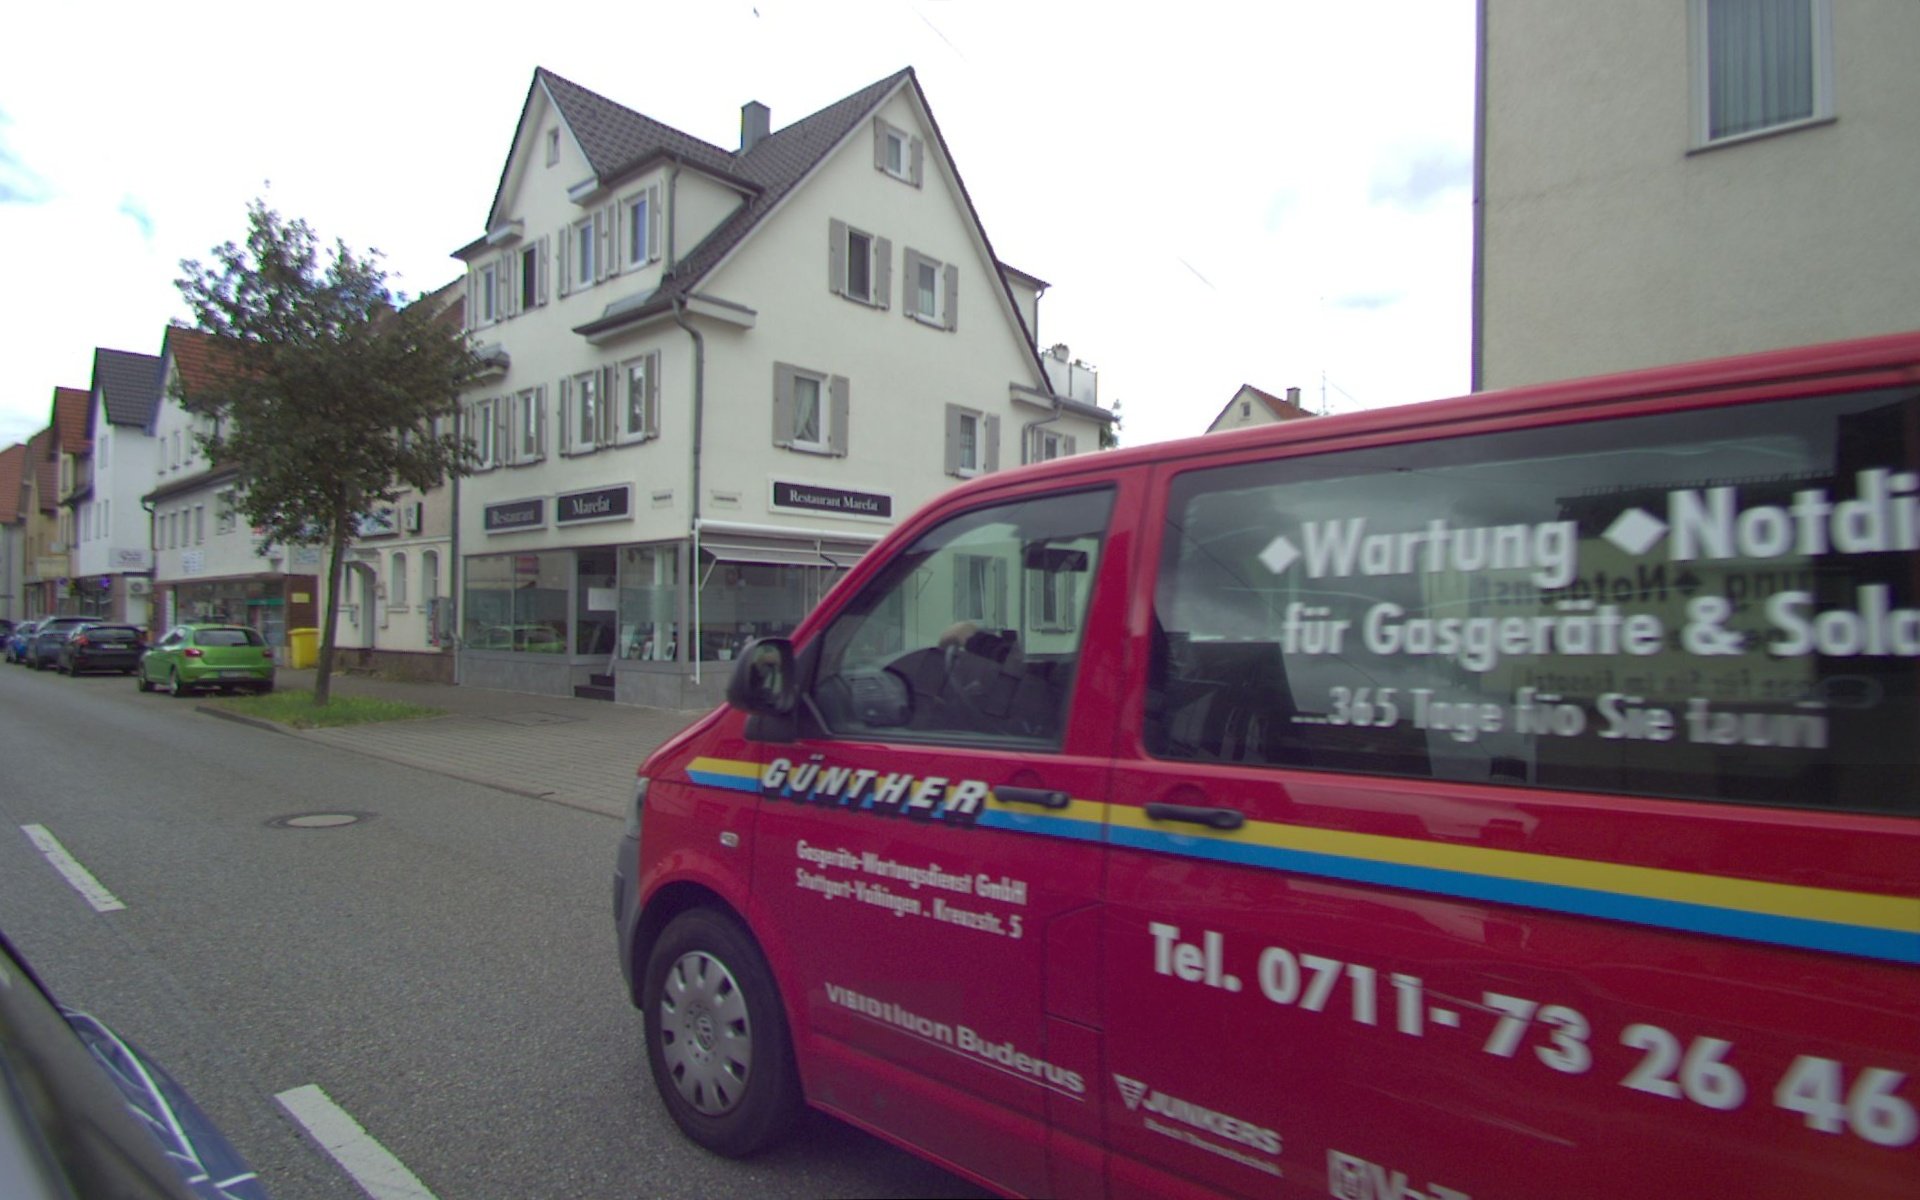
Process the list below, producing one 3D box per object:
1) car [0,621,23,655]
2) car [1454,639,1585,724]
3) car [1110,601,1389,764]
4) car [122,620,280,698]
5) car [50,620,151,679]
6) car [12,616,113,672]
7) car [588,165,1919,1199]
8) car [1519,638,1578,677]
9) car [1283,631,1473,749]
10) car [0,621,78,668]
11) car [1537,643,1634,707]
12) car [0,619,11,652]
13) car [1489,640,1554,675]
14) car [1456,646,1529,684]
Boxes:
[{"bbox_3d":[-43.930,1.697,45.932,3.590,1.504,1.664,-1,-3,42],"label":"car"},{"bbox_3d":[11.733,1.675,21.121,1.669,1.589,3.663,-1,-4,41],"label":"car"},{"bbox_3d":[3.495,0.945,11.710,1.733,1.546,3.948,-1,-5,38],"label":"car"},{"bbox_3d":[-15.758,1.162,20.946,4.016,1.458,1.666,-1,-3,39],"label":"car"},{"bbox_3d":[-23.761,1.339,27.934,3.811,1.519,1.565,-1,-3,42],"label":"car"},{"bbox_3d":[-27.557,1.319,31.036,4.303,1.611,1.784,-1,-3,42],"label":"car"},{"bbox_3d":[1.474,0.532,2.088,5.221,1.977,1.927,-1,-3,42],"label":"car"},{"bbox_3d":[28.271,2.771,48.588,1.810,1.735,3.663,-1,-4,41],"label":"car"},{"bbox_3d":[6.259,1.284,14.929,1.668,1.497,3.666,-1,-4,38],"label":"car"},{"bbox_3d":[-32.006,1.518,35.065,3.774,1.511,1.664,-1,-3,42],"label":"car"},{"bbox_3d":[17.031,2.032,27.497,1.669,1.589,3.663,-1,-4,41],"label":"car"},{"bbox_3d":[-47.916,1.689,49.584,4.112,1.578,1.691,-1,-3,42],"label":"car"},{"bbox_3d":[24.617,2.516,44.314,1.810,1.427,3.663,-1,-4,41],"label":"car"},{"bbox_3d":[21.451,2.619,40.713,1.810,1.427,3.663,-1,-4,41],"label":"car"}]
